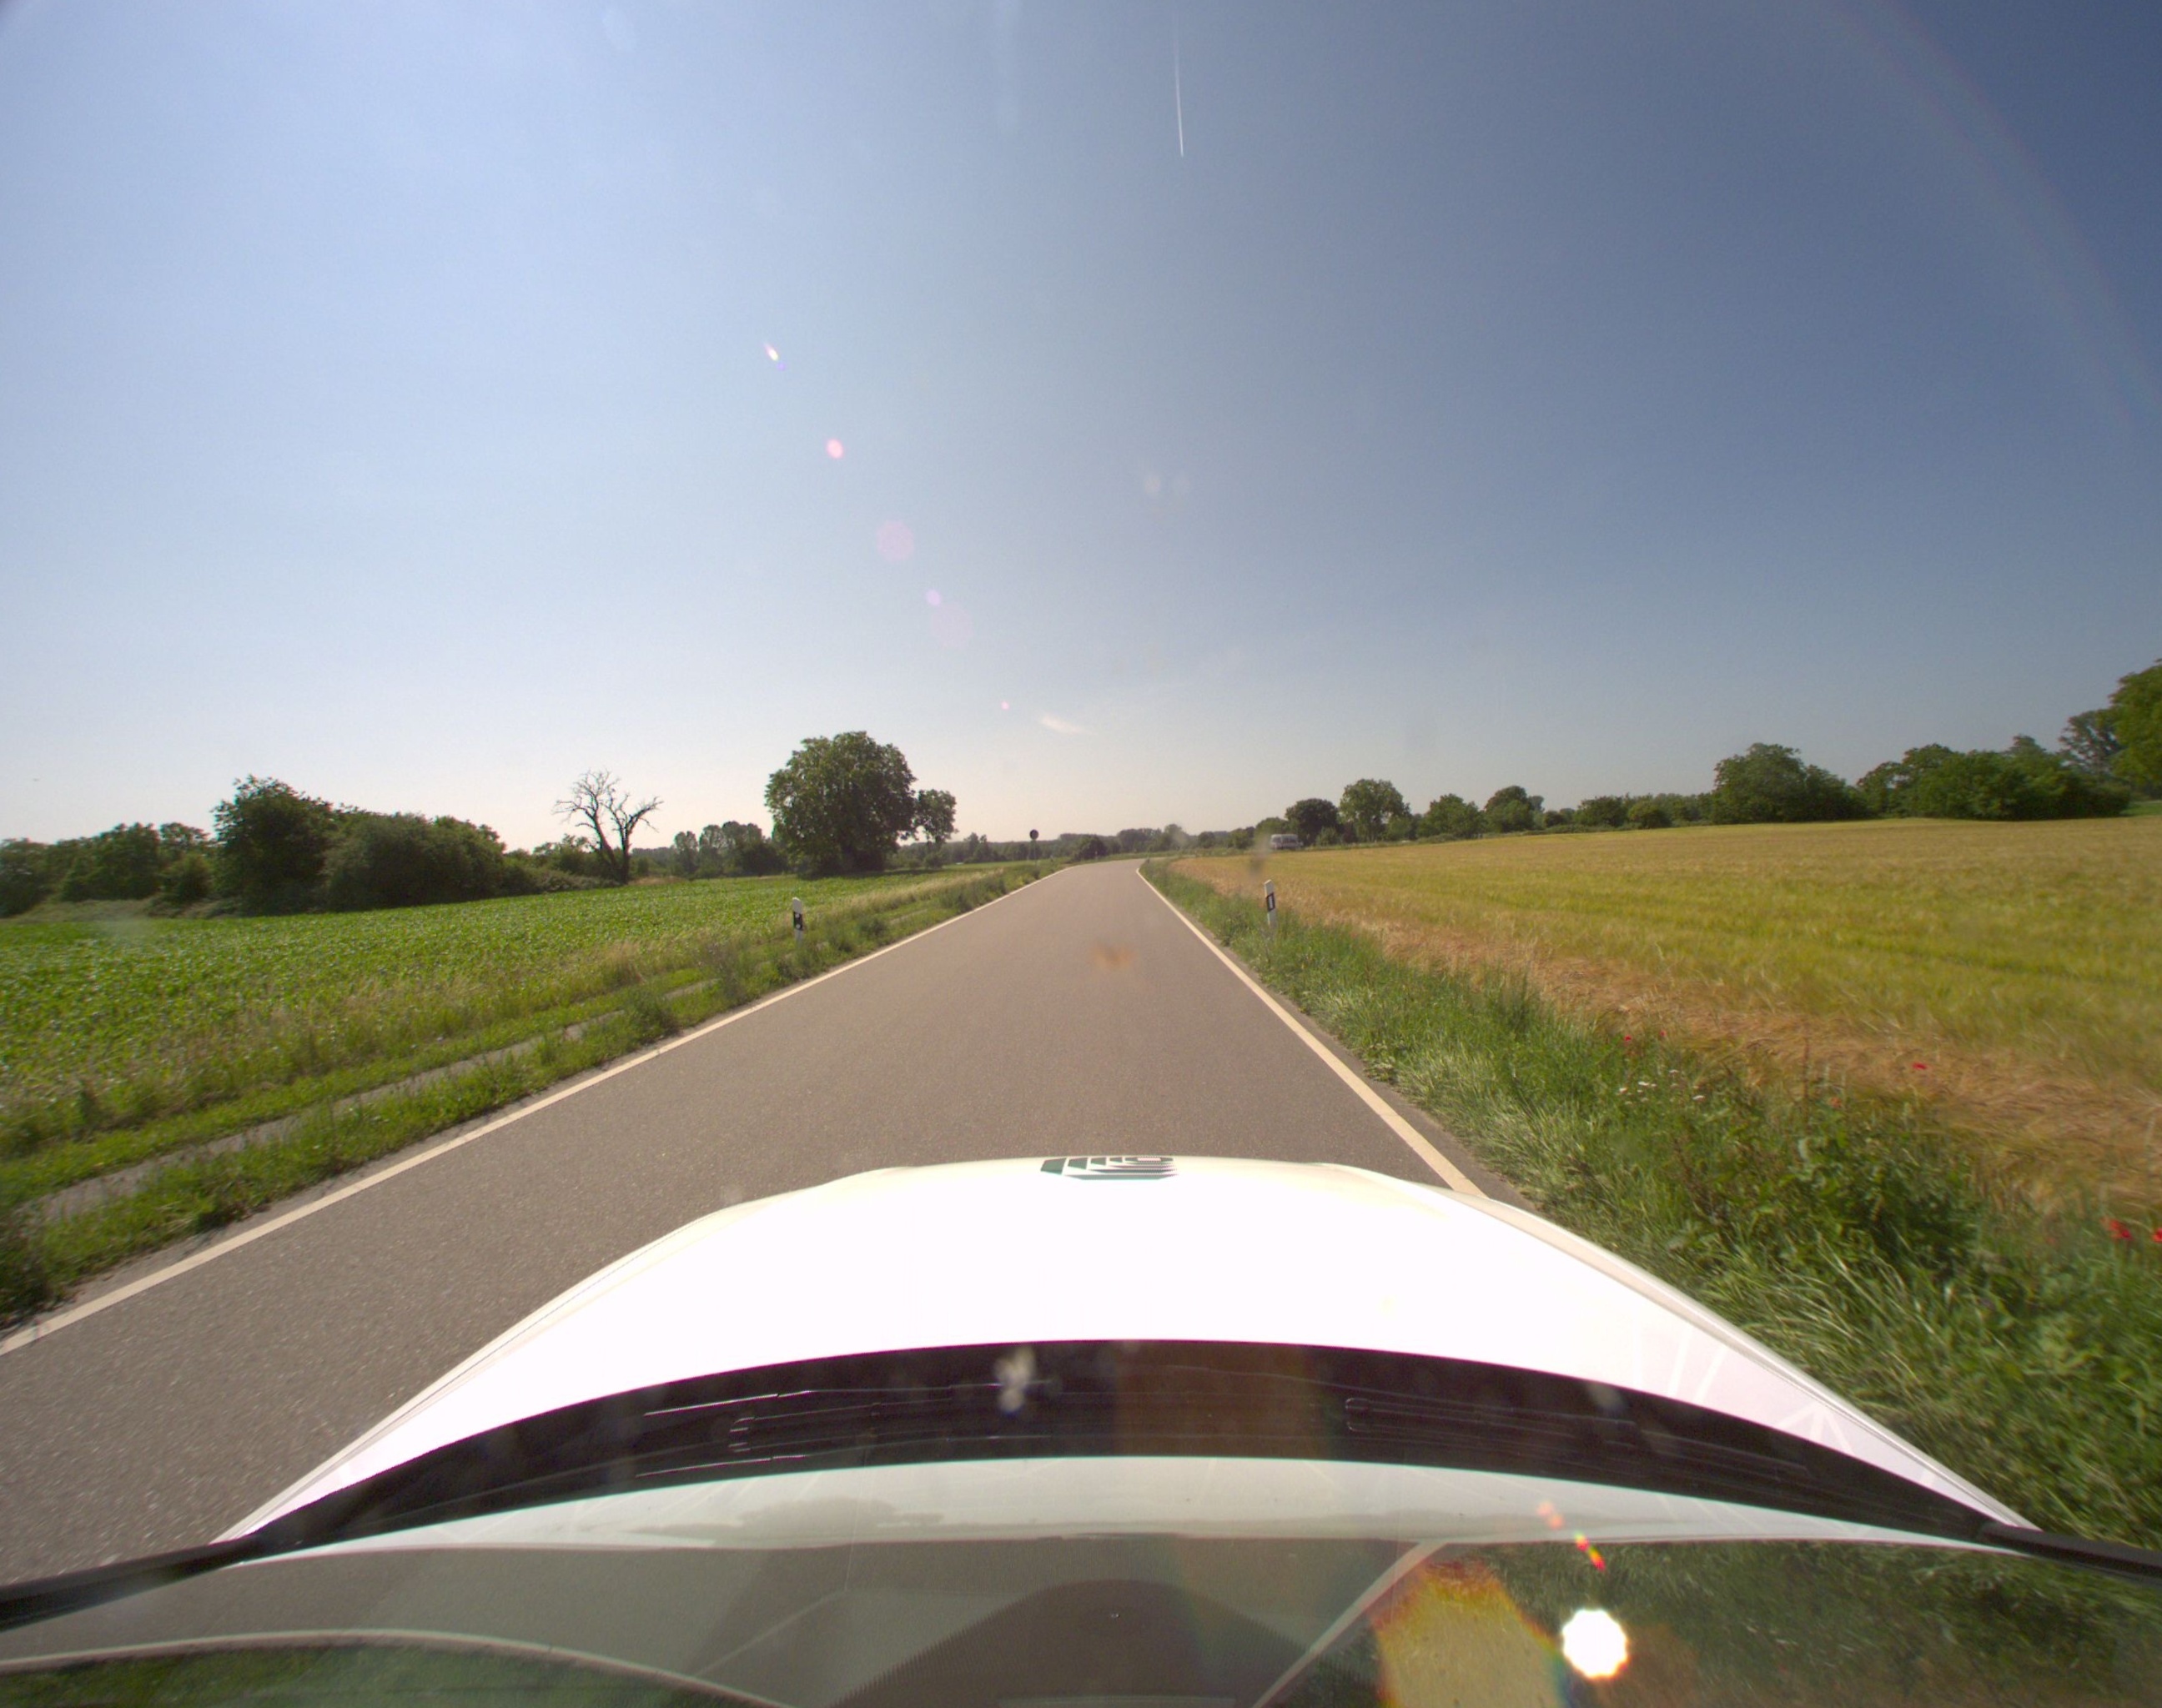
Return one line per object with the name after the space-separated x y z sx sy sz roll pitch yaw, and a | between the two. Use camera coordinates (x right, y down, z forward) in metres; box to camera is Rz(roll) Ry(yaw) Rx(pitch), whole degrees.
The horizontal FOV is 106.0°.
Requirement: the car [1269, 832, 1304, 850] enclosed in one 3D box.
30.173 -1.889 119.356 5.719 2.367 2.085 -4 0 -42 | car
